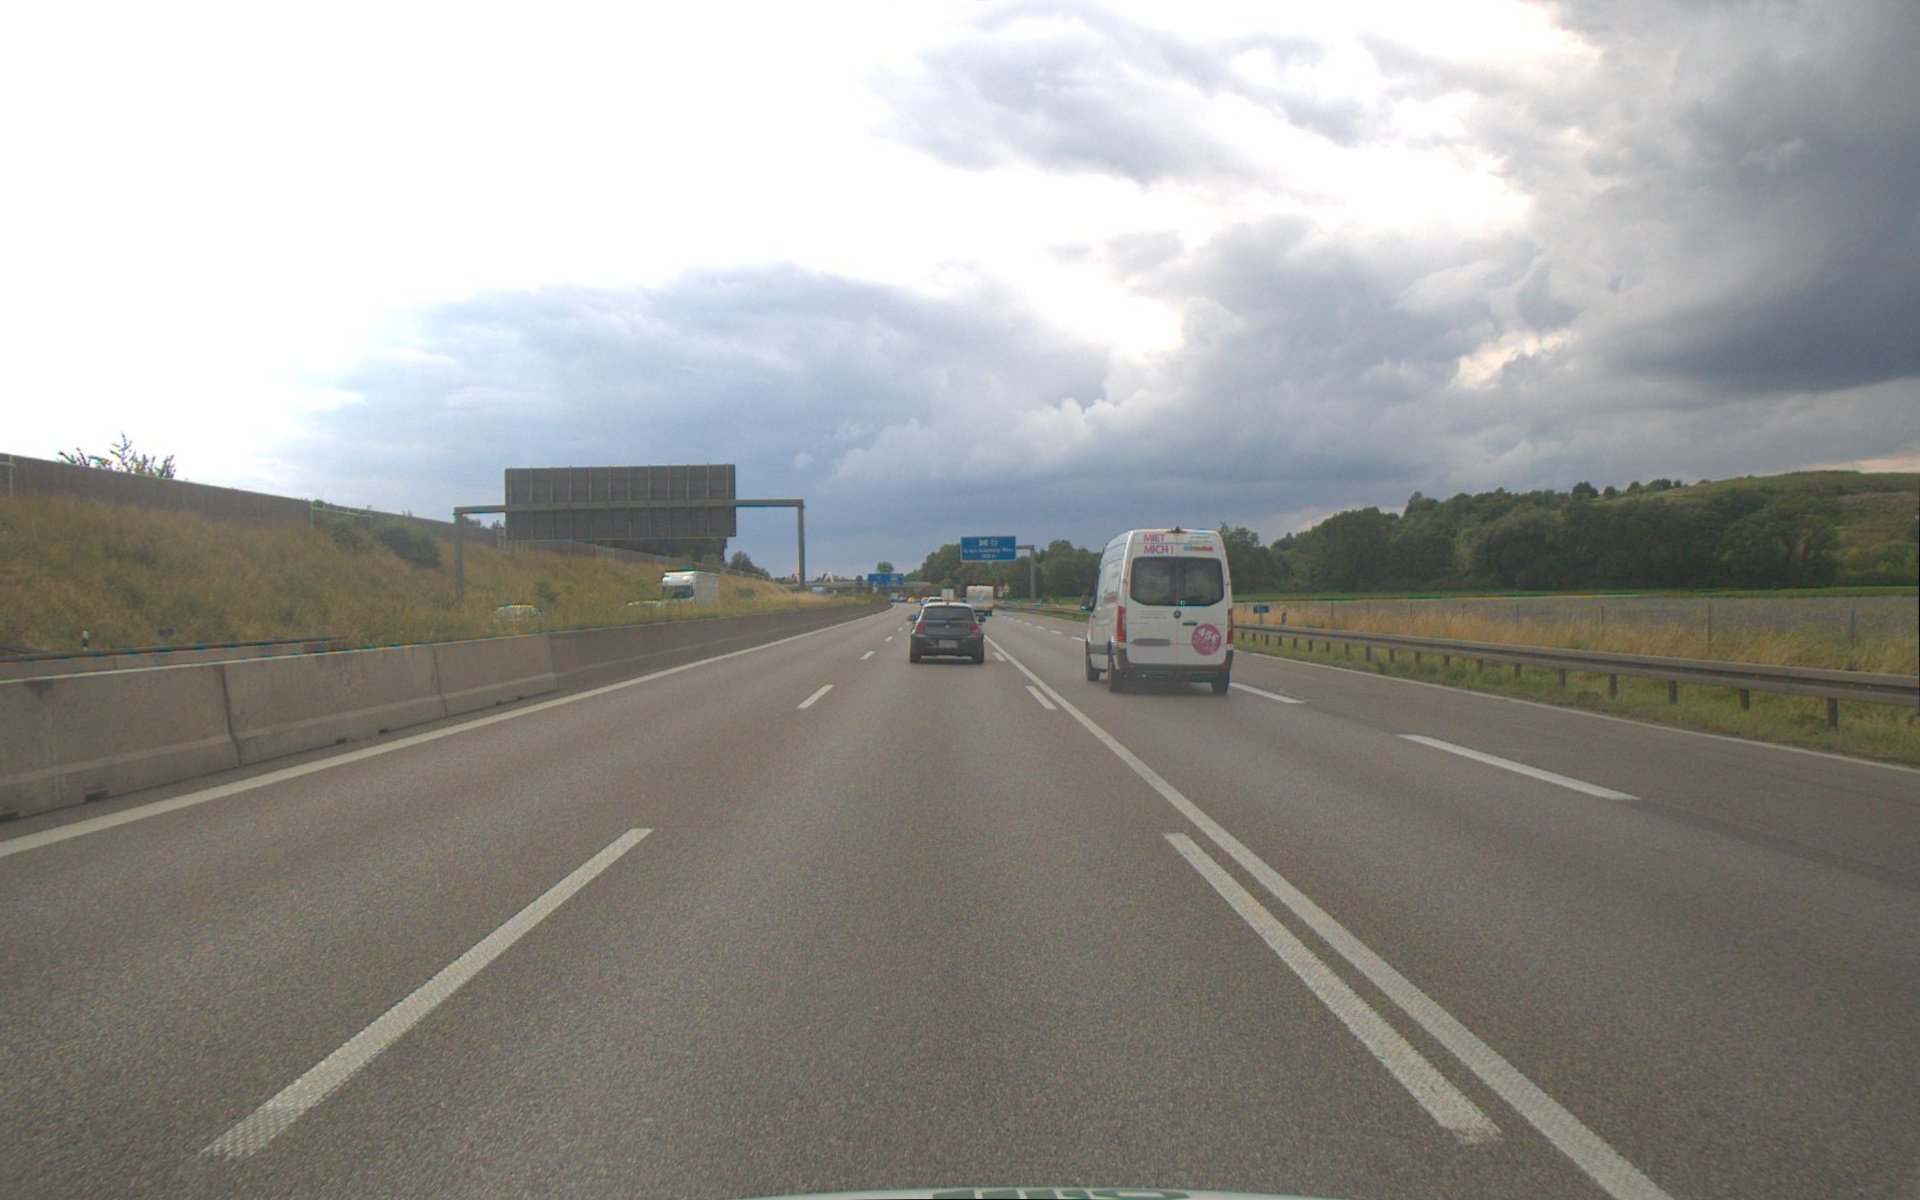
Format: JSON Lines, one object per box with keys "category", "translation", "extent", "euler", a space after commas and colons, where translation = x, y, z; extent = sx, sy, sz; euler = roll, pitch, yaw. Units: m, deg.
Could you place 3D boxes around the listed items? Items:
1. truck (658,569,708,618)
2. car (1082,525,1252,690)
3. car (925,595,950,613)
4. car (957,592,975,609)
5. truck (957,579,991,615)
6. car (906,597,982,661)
{"category": "truck", "translation": [-21.953, -0.493, 131.410], "extent": [2.671, 3.741, 7.488], "euler": [-1, 0, -1]}
{"category": "car", "translation": [3.525, 0.104, 29.425], "extent": [2.176, 2.613, 6.255], "euler": [0, 0, -1]}
{"category": "car", "translation": [-1.818, 0.308, 131.602], "extent": [1.953, 1.321, 3.999], "euler": [-1, 0, -1]}
{"category": "car", "translation": [0.695, 0.078, 199.041], "extent": [1.953, 2.049, 3.999], "euler": [1, 0, -1]}
{"category": "truck", "translation": [1.202, -0.256, 148.128], "extent": [2.655, 3.016, 12.444], "euler": [1, 0, -1]}
{"category": "car", "translation": [-0.386, 0.653, 39.593], "extent": [1.708, 1.413, 3.999], "euler": [0, 0, -1]}
